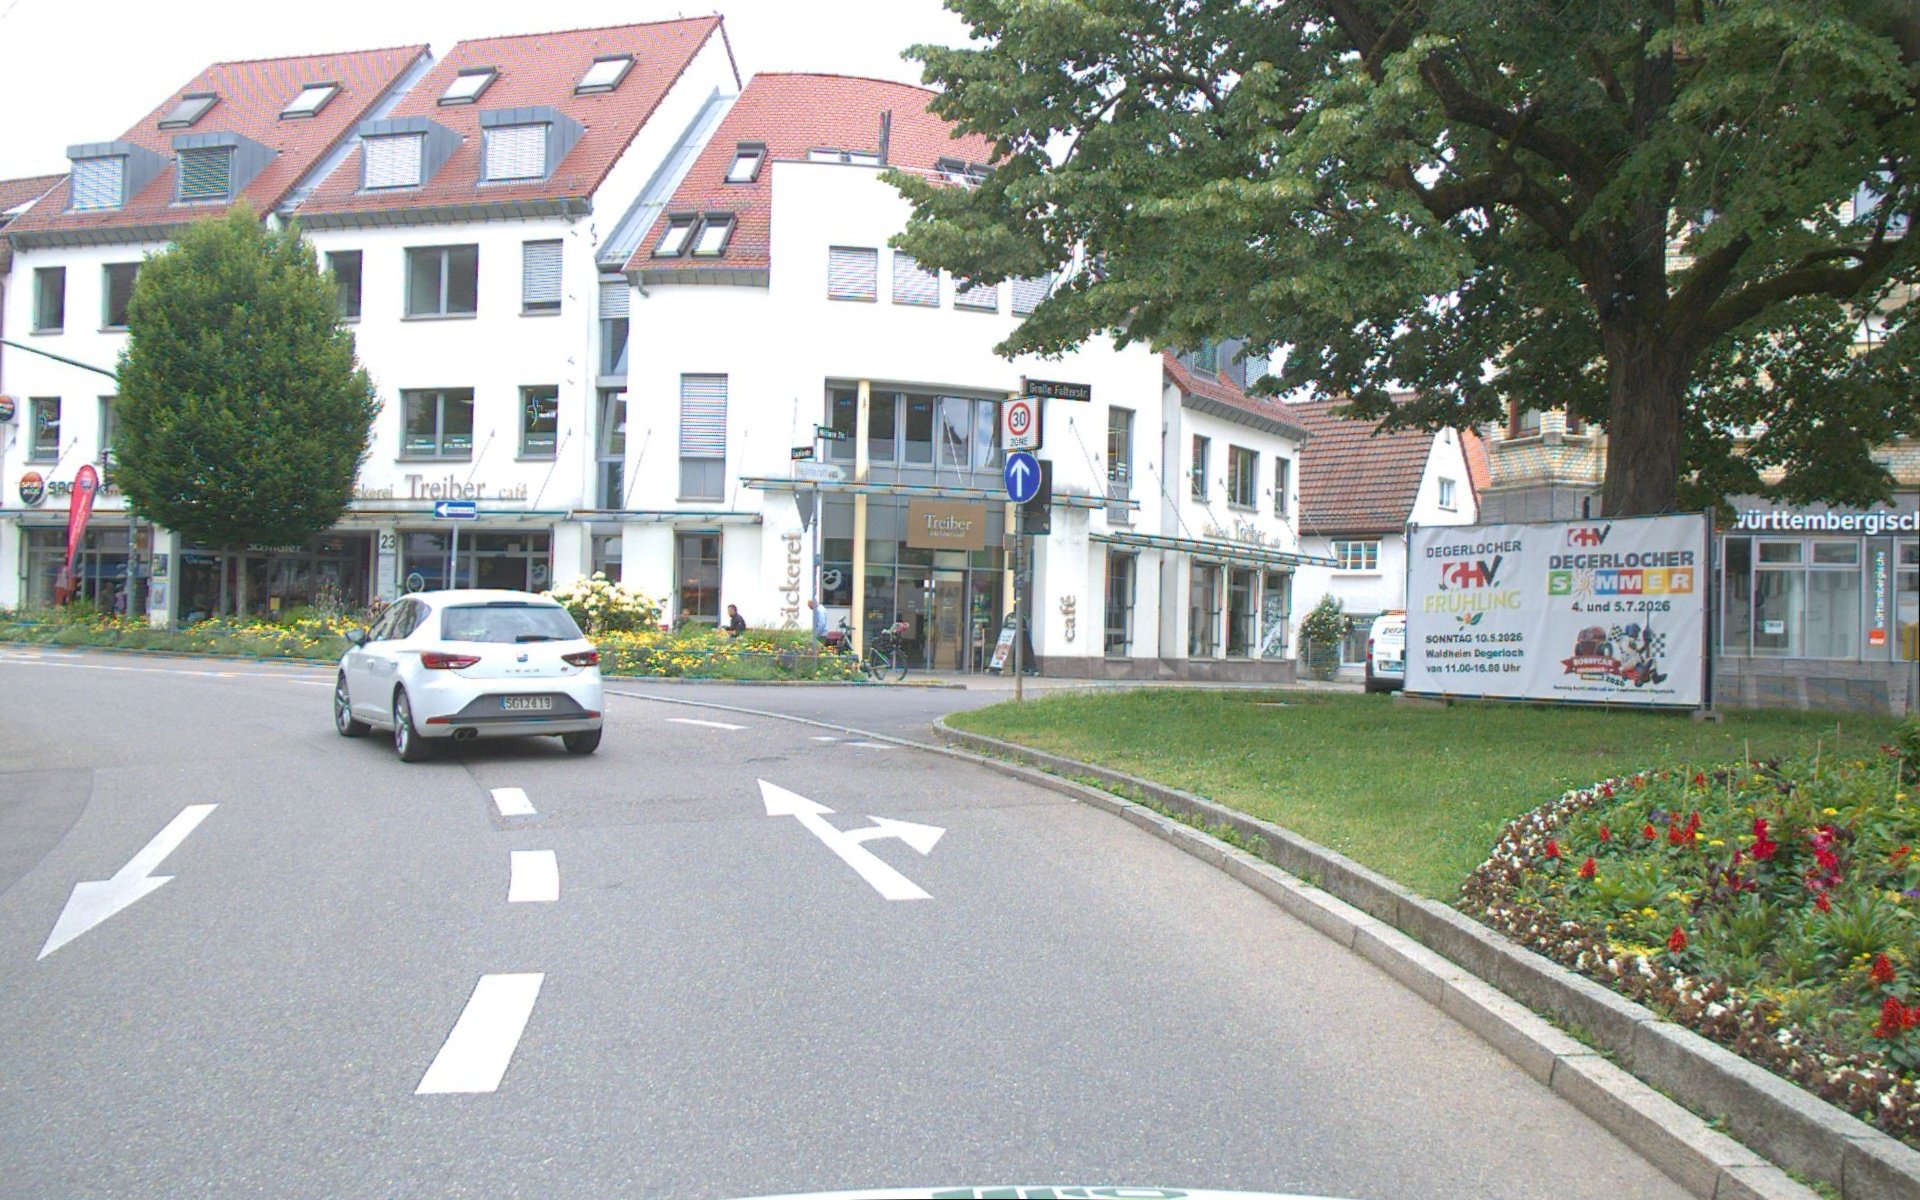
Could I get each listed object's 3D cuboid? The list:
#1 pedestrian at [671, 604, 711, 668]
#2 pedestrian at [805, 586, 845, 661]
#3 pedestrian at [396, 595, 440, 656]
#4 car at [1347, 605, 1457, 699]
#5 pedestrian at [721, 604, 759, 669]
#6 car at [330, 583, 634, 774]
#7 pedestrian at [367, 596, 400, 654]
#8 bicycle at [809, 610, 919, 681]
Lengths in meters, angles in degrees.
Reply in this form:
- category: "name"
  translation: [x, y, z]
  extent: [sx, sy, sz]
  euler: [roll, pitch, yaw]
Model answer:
- category: "pedestrian"
  translation: [-5.812, 0.773, 35.767]
  extent: [0.685, 1.355, 0.685]
  euler: [1, 0, 5]
- category: "pedestrian"
  translation: [-2.833, 0.486, 34.747]
  extent: [0.685, 1.552, 0.868]
  euler: [1, 0, 5]
- category: "pedestrian"
  translation: [-12.328, 0.583, 37.640]
  extent: [0.554, 1.341, 0.765]
  euler: [1, -3, 18]
- category: "car"
  translation: [9.503, 1.110, 35.327]
  extent: [1.788, 1.824, 4.218]
  euler: [2, -1, 21]
- category: "pedestrian"
  translation: [-4.733, 0.785, 35.582]
  extent: [0.641, 1.365, 0.696]
  euler: [1, 0, 5]
- category: "car"
  translation: [-4.611, 0.634, 15.560]
  extent: [1.824, 1.459, 3.960]
  euler: [1, 1, -30]
- category: "pedestrian"
  translation: [-13.242, 0.571, 37.984]
  extent: [0.480, 1.293, 0.502]
  euler: [1, -1, 18]
- category: "bicycle"
  translation: [-1.833, 0.858, 31.591]
  extent: [1.932, 1.261, 0.744]
  euler: [2, 0, 17]
